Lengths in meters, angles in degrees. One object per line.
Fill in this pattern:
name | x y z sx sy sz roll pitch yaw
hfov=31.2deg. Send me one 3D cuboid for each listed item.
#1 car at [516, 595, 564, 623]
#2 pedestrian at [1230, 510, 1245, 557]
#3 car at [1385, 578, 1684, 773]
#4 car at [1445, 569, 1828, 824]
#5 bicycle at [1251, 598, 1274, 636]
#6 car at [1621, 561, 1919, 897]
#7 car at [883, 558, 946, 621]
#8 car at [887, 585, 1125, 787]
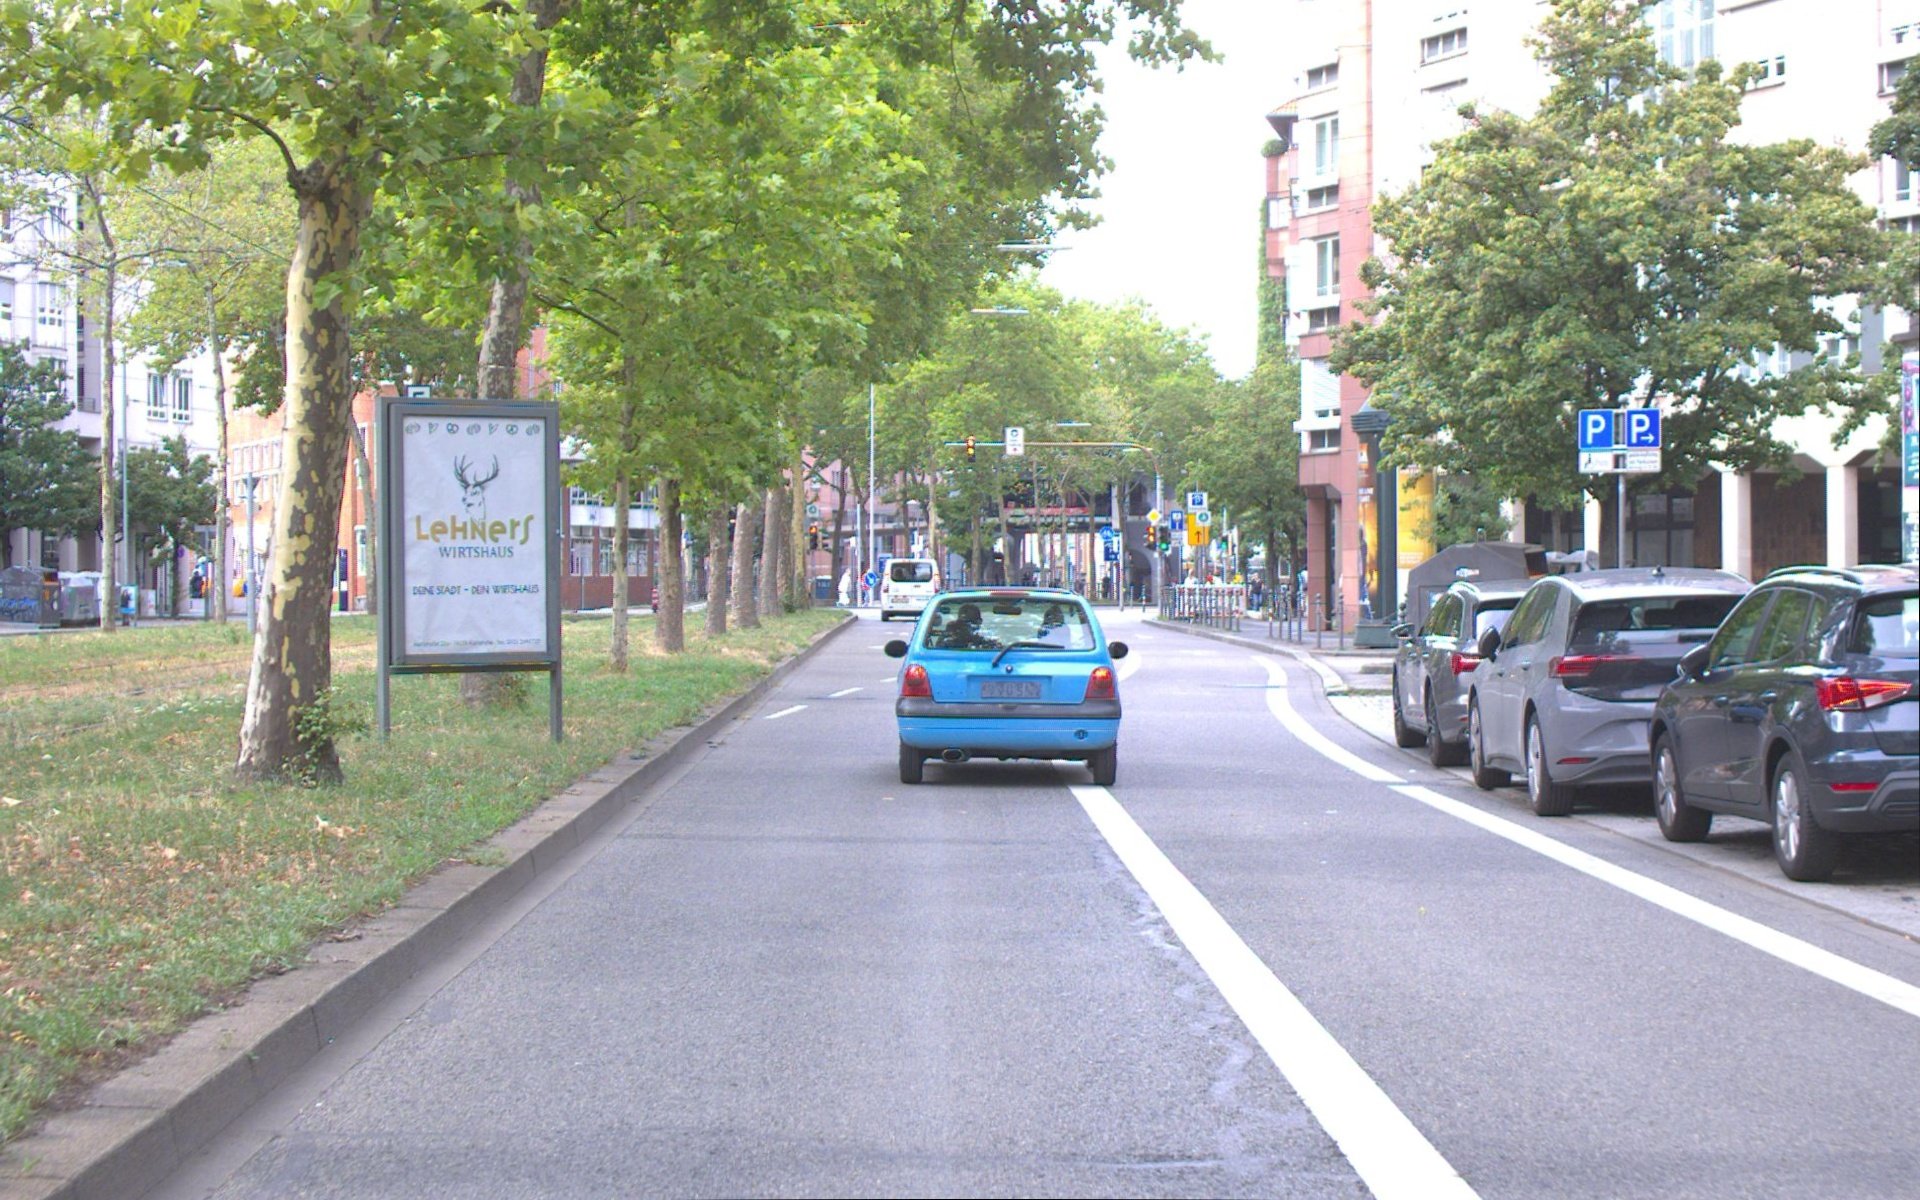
car | -19.376 0.403 158.769 1.729 1.241 4.535 0 0 -1
pedestrian | 9.648 -2.295 119.459 0.517 1.611 0.850 0 0 5
car | 4.639 0.560 28.371 1.817 1.438 4.665 -1 0 2
car | 4.449 0.572 23.237 1.740 1.514 4.401 -1 0 1
bicycle | 8.996 0.490 102.262 0.612 1.114 1.804 0 0 7
car | 4.809 0.577 18.095 1.715 1.514 4.204 -2 0 -1
car | -1.413 -0.339 107.819 1.931 1.919 4.956 0 0 0
car | 0.327 0.583 25.669 1.640 1.381 3.843 0 0 0
